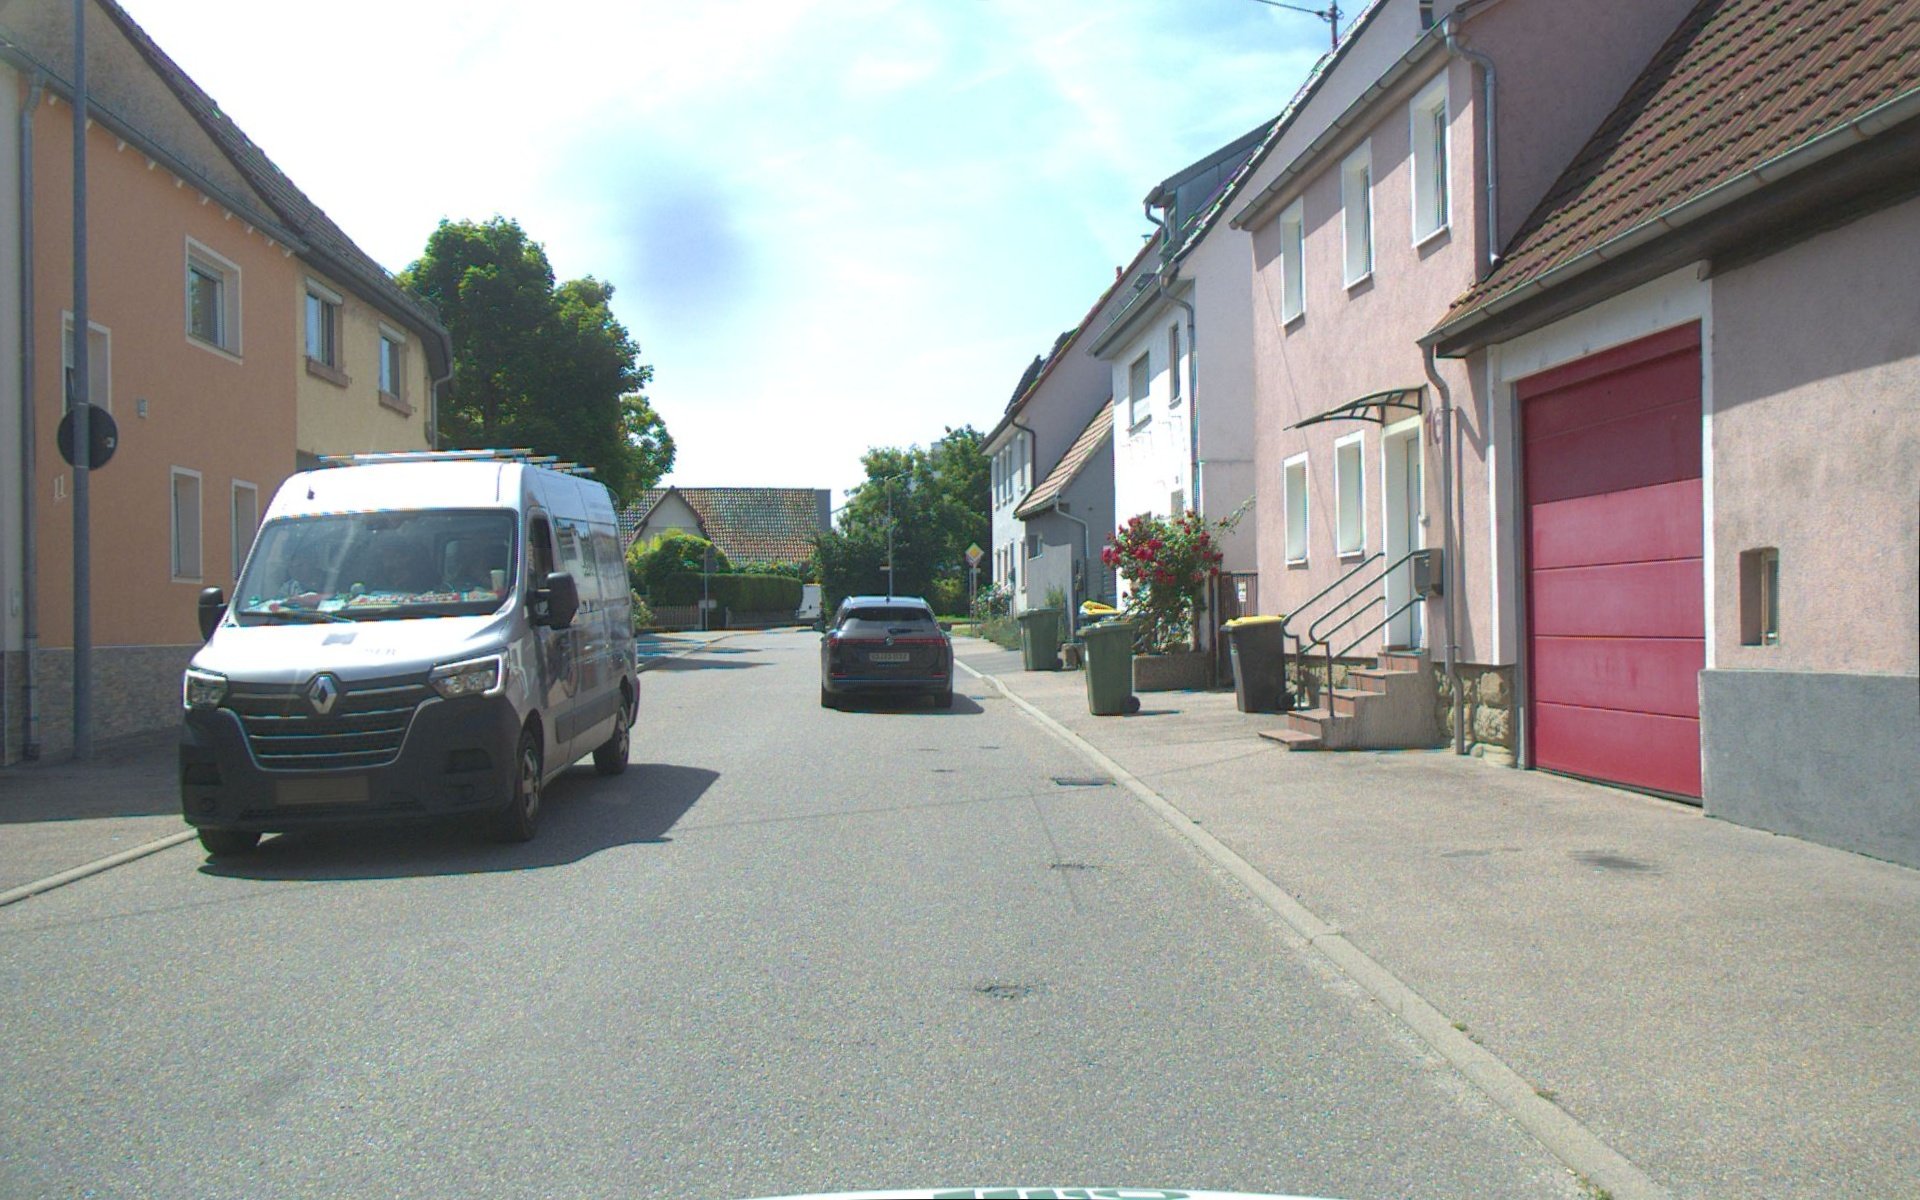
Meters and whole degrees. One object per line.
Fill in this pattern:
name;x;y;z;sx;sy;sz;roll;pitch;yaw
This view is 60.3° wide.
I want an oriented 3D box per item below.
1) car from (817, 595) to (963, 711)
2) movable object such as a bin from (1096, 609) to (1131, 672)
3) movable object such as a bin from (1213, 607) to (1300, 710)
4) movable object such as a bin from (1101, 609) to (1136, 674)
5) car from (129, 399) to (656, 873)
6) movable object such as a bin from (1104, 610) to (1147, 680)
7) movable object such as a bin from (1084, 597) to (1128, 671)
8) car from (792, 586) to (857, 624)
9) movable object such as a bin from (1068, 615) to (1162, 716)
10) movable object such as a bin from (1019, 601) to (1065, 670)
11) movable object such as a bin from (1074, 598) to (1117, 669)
car;-1.085;0.677;23.301;1.806;1.445;4.676;0;0;-6
movable object such as a bin;2.529;0.666;27.225;0.494;1.011;0.441;-1;0;-4
movable object such as a bin;3.331;0.642;18.638;0.666;1.068;0.834;-5;1;-8
movable object such as a bin;2.547;0.664;26.621;0.494;1.011;0.441;-1;0;-4
car;-3.713;0.171;12.199;2.072;2.607;5.824;-1;0;-3
movable object such as a bin;2.562;0.687;25.641;0.580;1.058;0.530;-1;0;-4
movable object such as a bin;2.445;0.568;27.763;0.652;1.215;0.587;-1;0;-4
car;-7.702;0.250;94.278;2.083;2.049;4.941;-1;0;16
movable object such as a bin;1.839;0.764;19.763;0.860;1.093;0.871;-5;1;-8
movable object such as a bin;1.432;0.613;28.913;0.665;1.175;0.819;0;0;-8
movable object such as a bin;2.343;0.572;28.635;0.652;1.215;0.660;-1;0;-4
